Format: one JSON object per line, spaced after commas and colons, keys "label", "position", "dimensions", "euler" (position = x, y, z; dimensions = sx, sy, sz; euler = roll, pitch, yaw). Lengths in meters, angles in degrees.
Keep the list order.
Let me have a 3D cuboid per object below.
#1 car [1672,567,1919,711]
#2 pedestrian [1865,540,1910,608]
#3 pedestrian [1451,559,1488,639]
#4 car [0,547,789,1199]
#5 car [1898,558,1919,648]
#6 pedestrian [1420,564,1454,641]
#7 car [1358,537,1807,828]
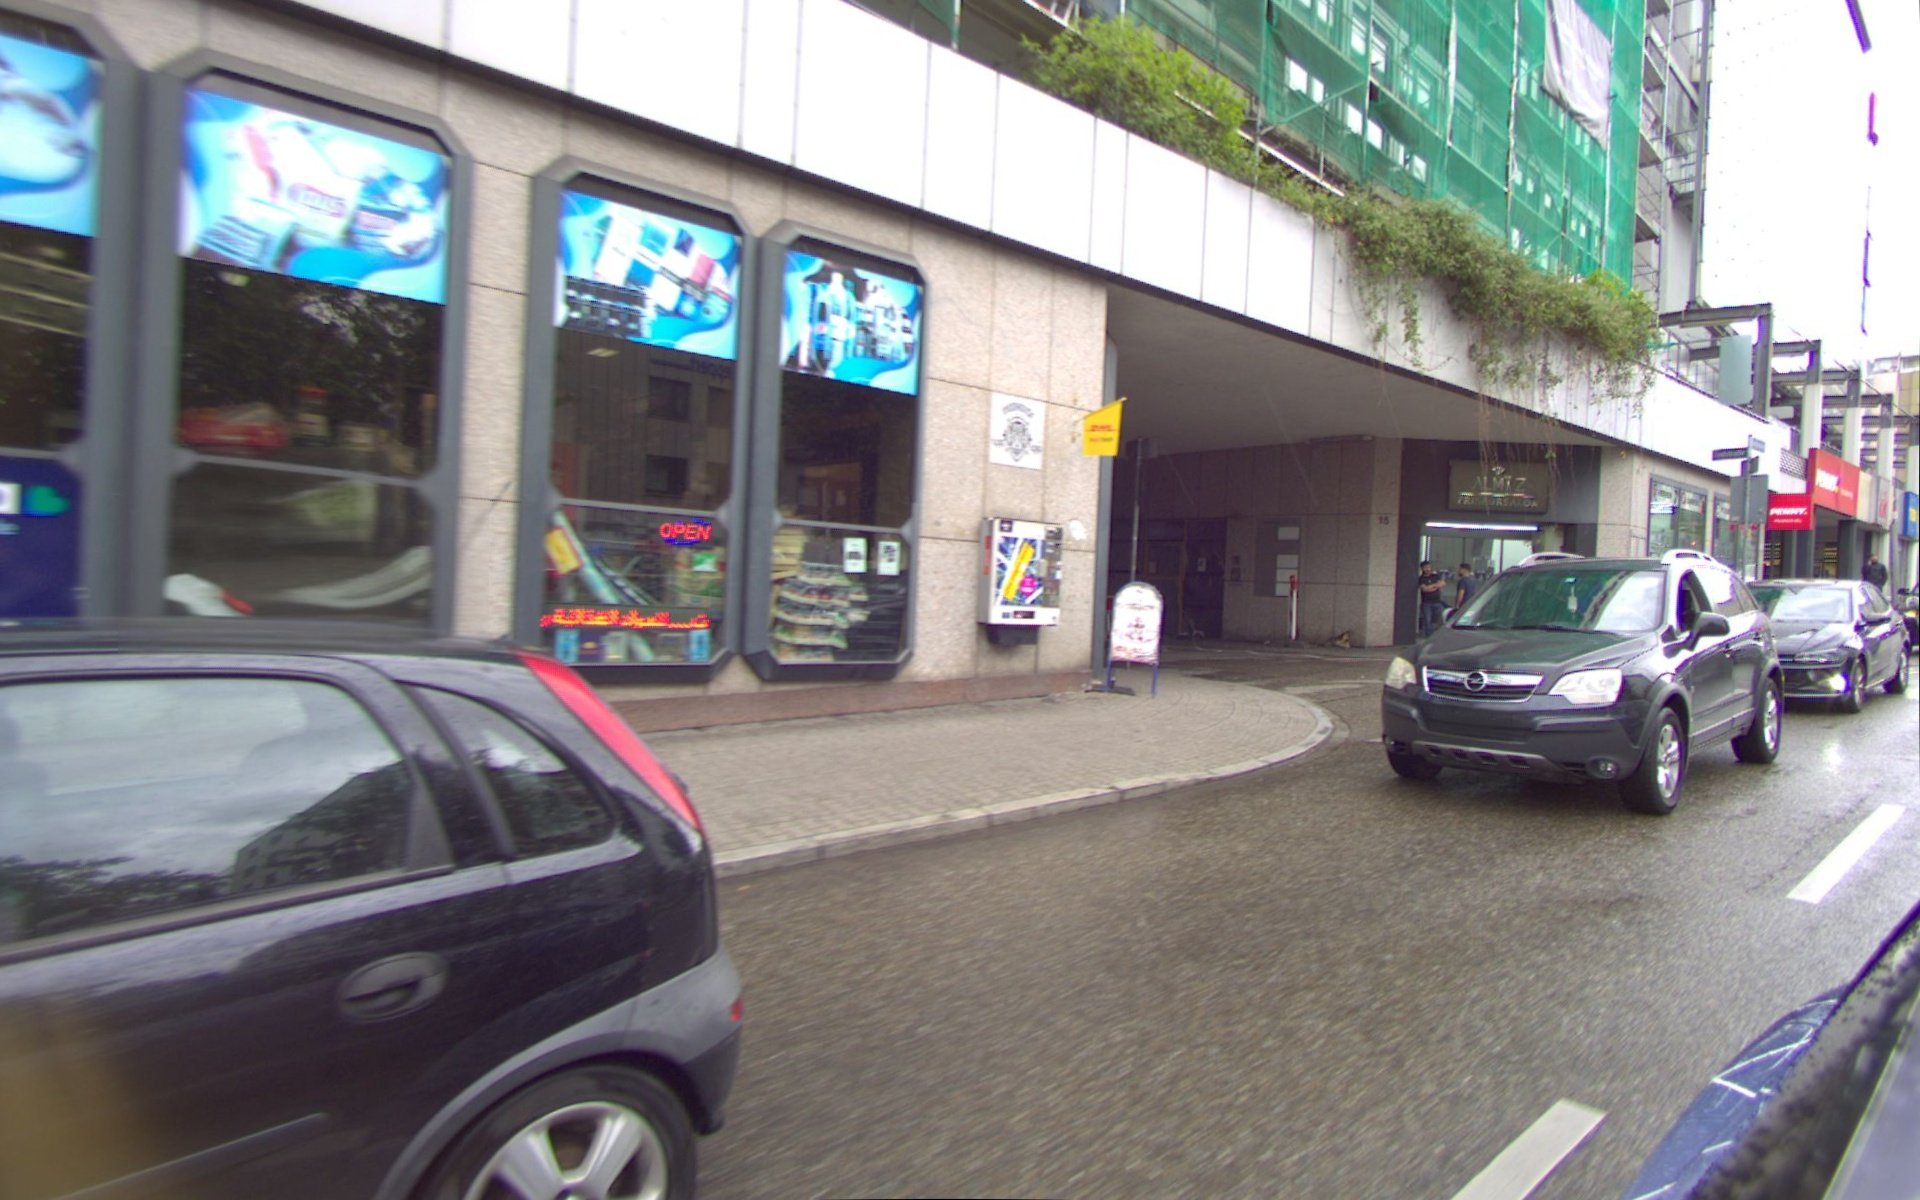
{"label": "car", "position": [10.296, 0.354, 12.297], "dimensions": [3.708, 1.448, 1.682], "euler": [-2, 2, -38]}
{"label": "pedestrian", "position": [26.190, -0.756, 28.582], "dimensions": [0.630, 1.798, 0.708], "euler": [-7, 11, -39]}
{"label": "pedestrian", "position": [9.783, -0.028, 19.424], "dimensions": [0.515, 1.506, 0.428], "euler": [-2, 4, -41]}
{"label": "car", "position": [-2.247, 0.622, 1.606], "dimensions": [3.563, 1.459, 1.595], "euler": [2, 0, -41]}
{"label": "car", "position": [19.116, -0.007, 18.841], "dimensions": [3.927, 1.604, 1.777], "euler": [-2, 1, -37]}
{"label": "pedestrian", "position": [9.551, 0.044, 20.281], "dimensions": [0.517, 1.506, 0.427], "euler": [1, 3, 17]}
{"label": "car", "position": [5.014, 0.408, 7.911], "dimensions": [4.174, 1.699, 1.735], "euler": [-2, 2, -39]}
